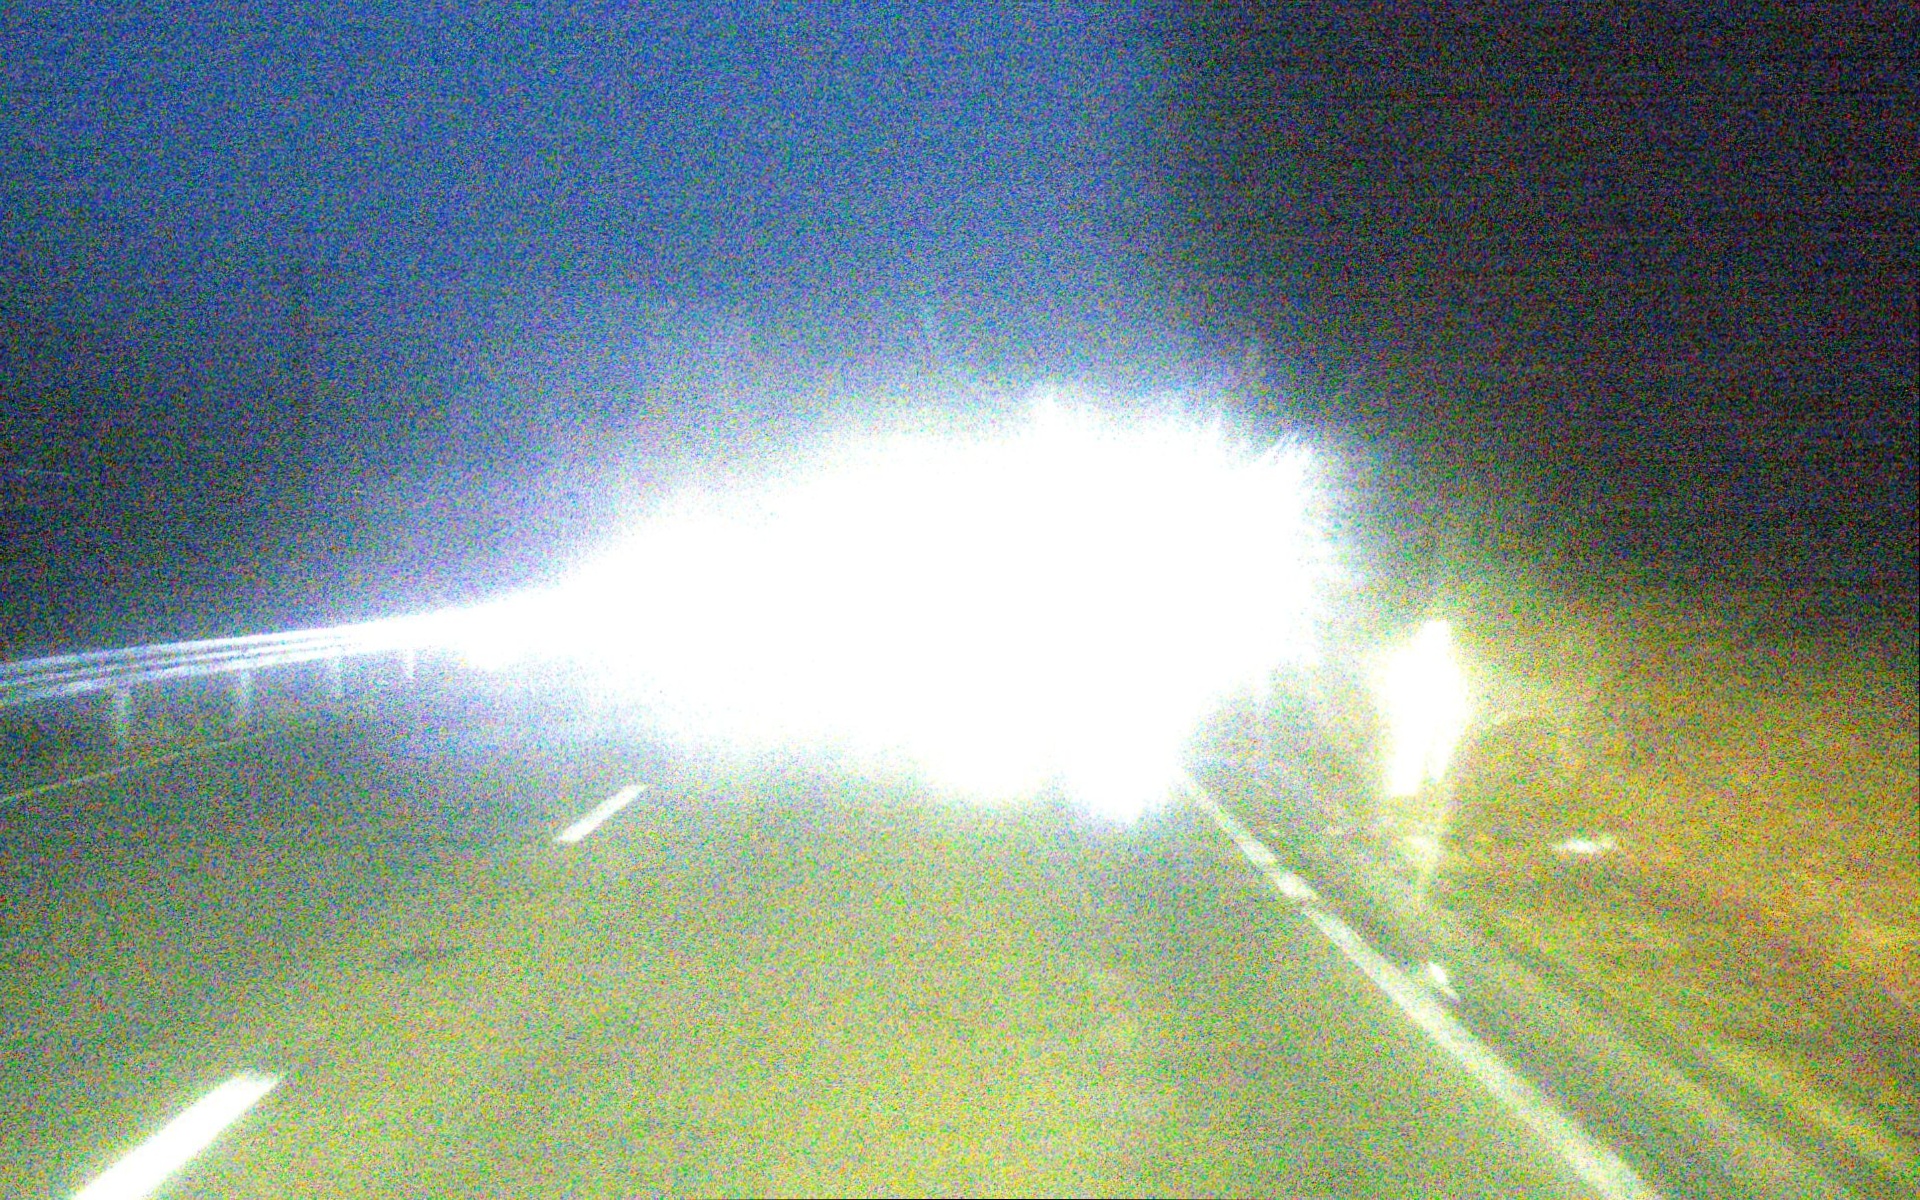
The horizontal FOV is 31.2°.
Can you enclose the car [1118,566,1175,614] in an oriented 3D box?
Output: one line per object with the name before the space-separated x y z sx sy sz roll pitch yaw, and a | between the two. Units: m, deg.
car | 6.812 -0.353 125.284 1.994 1.687 4.697 0 -1 4
